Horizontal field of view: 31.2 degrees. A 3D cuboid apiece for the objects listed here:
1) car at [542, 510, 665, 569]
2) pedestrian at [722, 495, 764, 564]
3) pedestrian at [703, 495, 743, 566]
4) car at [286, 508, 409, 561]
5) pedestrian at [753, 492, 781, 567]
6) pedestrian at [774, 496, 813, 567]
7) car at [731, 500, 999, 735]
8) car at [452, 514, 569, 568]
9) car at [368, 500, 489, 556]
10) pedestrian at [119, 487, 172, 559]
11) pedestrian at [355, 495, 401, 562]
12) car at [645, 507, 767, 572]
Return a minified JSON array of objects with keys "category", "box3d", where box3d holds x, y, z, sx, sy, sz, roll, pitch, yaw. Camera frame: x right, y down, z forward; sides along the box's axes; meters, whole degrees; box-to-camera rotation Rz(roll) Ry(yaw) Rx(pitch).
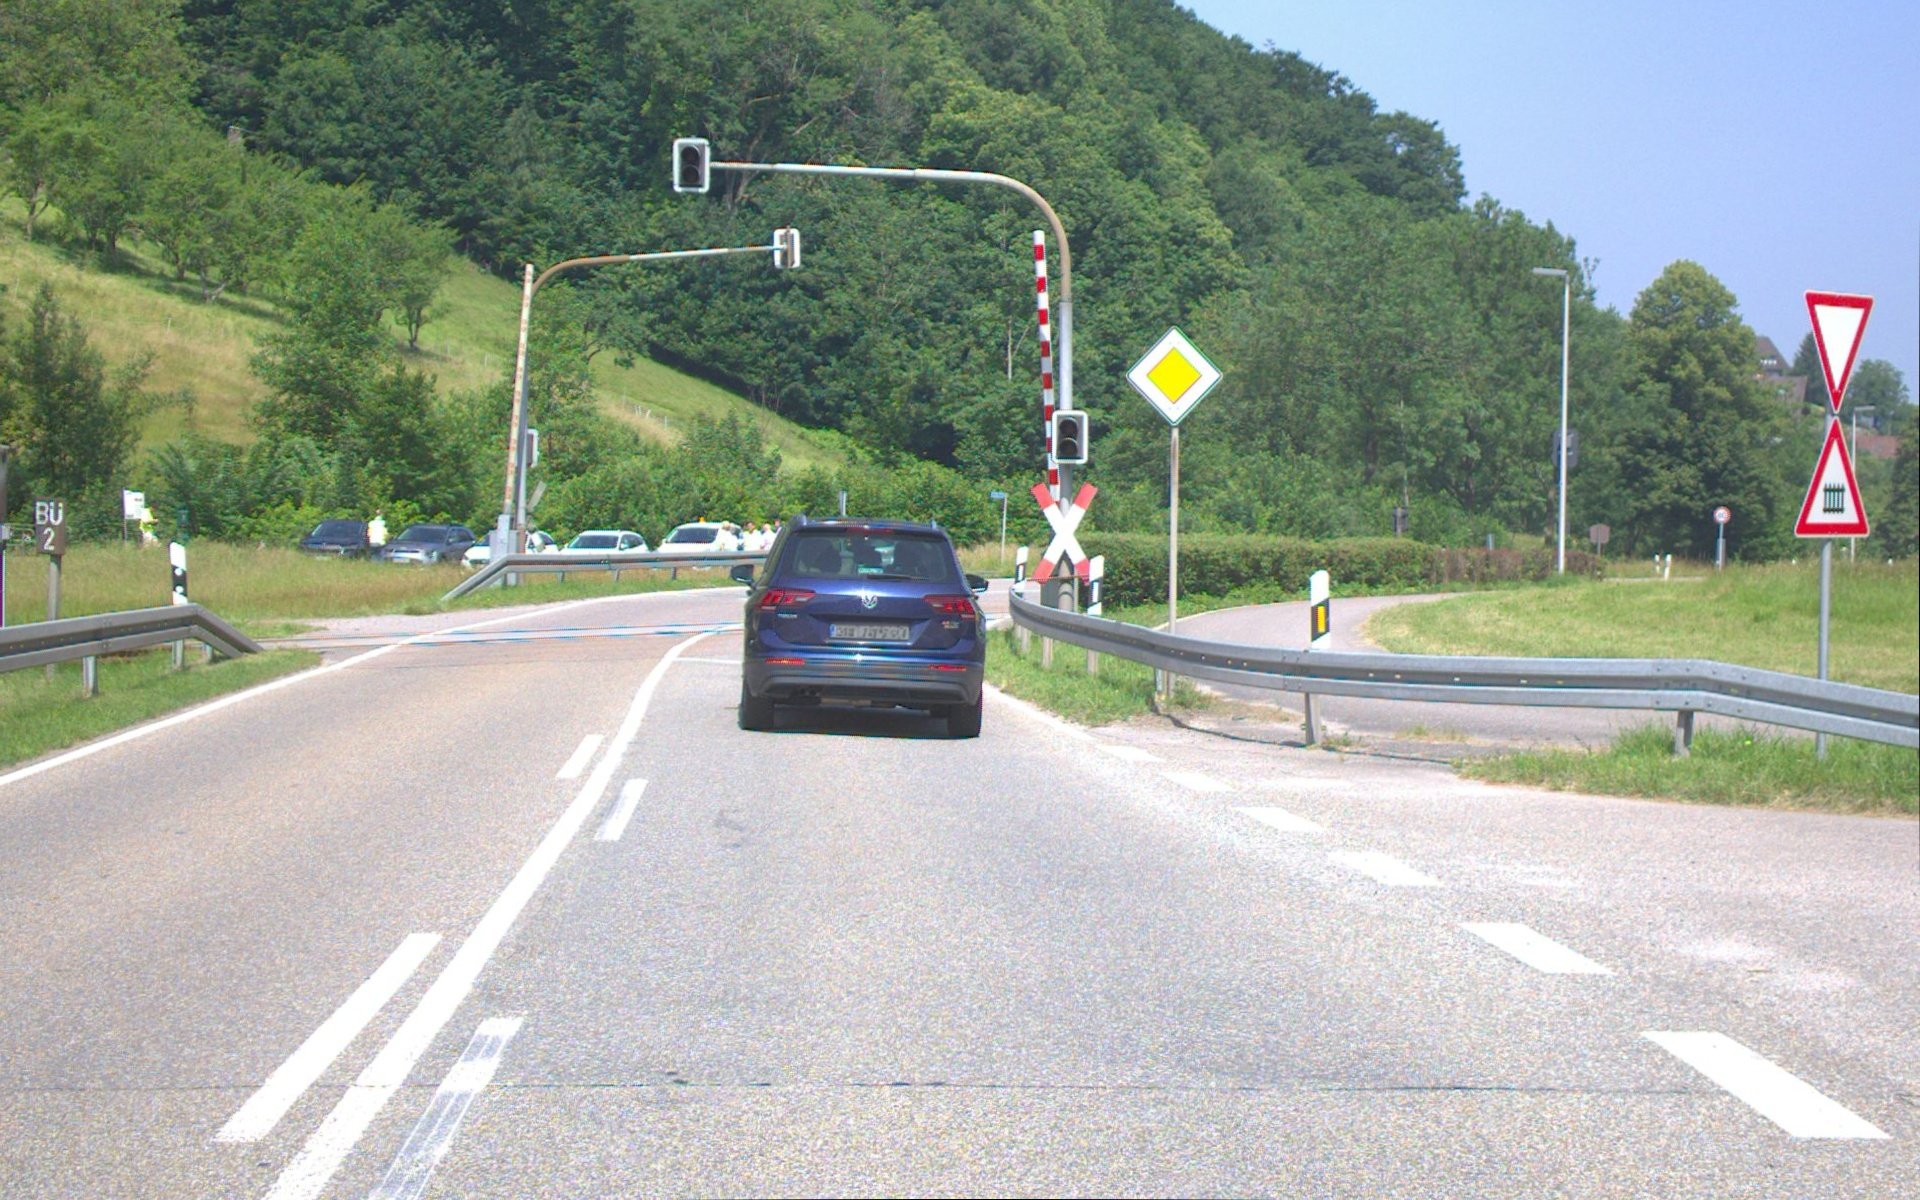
[{"category":"car","box3d":[-10.092,-1.710,97.725,1.995,1.635,4.899,0,1,13]},{"category":"pedestrian","box3d":[-5.702,-1.851,90.446,0.770,1.790,0.792,0,1,40]},{"category":"pedestrian","box3d":[-6.179,-1.813,89.578,0.789,1.836,0.697,1,1,24]},{"category":"car","box3d":[-17.637,-1.888,99.237,1.994,1.495,4.520,0,1,11]},{"category":"pedestrian","box3d":[-5.054,-1.846,89.914,0.660,1.948,0.533,0,1,3]},{"category":"pedestrian","box3d":[-4.388,-1.805,90.455,0.769,1.852,0.649,-1,1,-43]},{"category":"car","box3d":[-0.824,0.083,27.012,1.852,1.643,4.141,2,1,-4]},{"category":"car","box3d":[-12.775,-1.675,97.998,1.994,1.495,4.520,0,1,11]},{"category":"car","box3d":[-15.207,-2.047,98.606,1.994,1.495,4.520,2,1,11]},{"category":"pedestrian","box3d":[-22.435,-2.115,94.697,1.128,1.962,0.860,0,1,29]},{"category":"pedestrian","box3d":[-15.610,-1.921,92.280,0.954,1.788,1.000,0,1,7]},{"category":"car","box3d":[-7.190,-1.729,97.695,1.872,1.776,4.768,1,1,16]}]
